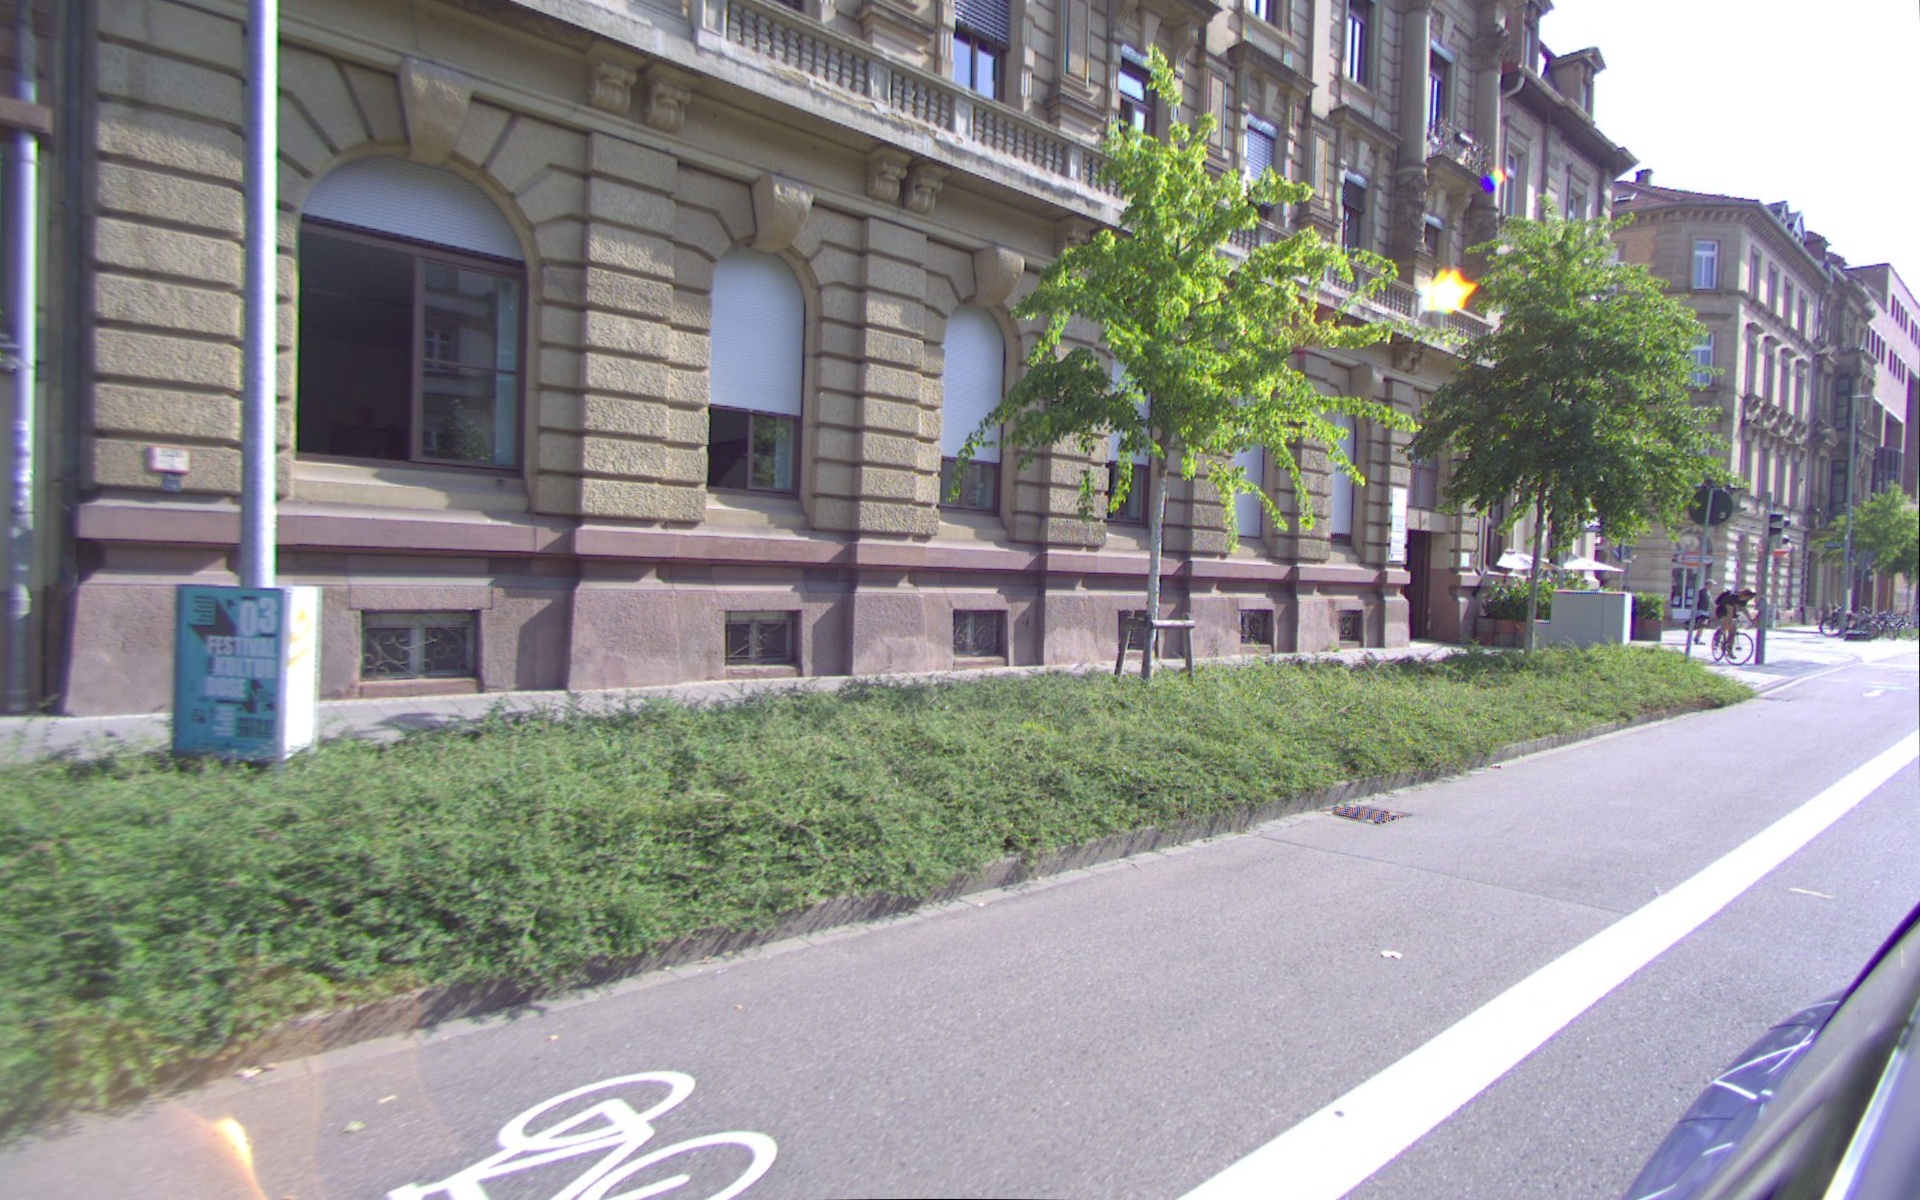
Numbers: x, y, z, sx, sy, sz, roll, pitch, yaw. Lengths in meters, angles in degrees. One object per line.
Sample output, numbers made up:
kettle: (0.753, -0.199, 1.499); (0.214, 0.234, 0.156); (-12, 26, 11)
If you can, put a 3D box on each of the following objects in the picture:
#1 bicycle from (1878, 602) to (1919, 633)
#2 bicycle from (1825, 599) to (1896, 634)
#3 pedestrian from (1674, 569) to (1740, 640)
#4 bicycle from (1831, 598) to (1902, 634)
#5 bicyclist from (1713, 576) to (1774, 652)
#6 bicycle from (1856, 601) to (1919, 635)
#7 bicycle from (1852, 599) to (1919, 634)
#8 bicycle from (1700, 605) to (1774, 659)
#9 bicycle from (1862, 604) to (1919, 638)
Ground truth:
bicycle: (37.304, 0.705, 39.746); (1.755, 1.100, 0.602); (8, 5, 41)
bicycle: (32.417, 0.574, 36.444); (0.572, 1.100, 1.759); (1, 4, -37)
pedestrian: (20.210, 0.109, 27.393); (0.973, 1.828, 0.866); (4, 1, -8)
bicycle: (32.916, 0.571, 36.767); (0.572, 1.100, 1.759); (1, 4, -37)
bicyclist: (16.481, 0.280, 21.304); (0.577, 1.500, 0.928); (3, 3, 14)
bicycle: (35.846, 0.669, 39.094); (1.755, 1.100, 0.648); (8, 5, 41)
bicycle: (34.121, 0.599, 37.236); (0.656, 1.100, 1.763); (1, 5, -35)
bicycle: (16.498, 0.658, 21.545); (0.499, 0.964, 1.778); (3, 4, 13)
bicycle: (35.274, 0.787, 38.109); (1.745, 1.100, 0.666); (6, 4, 28)
